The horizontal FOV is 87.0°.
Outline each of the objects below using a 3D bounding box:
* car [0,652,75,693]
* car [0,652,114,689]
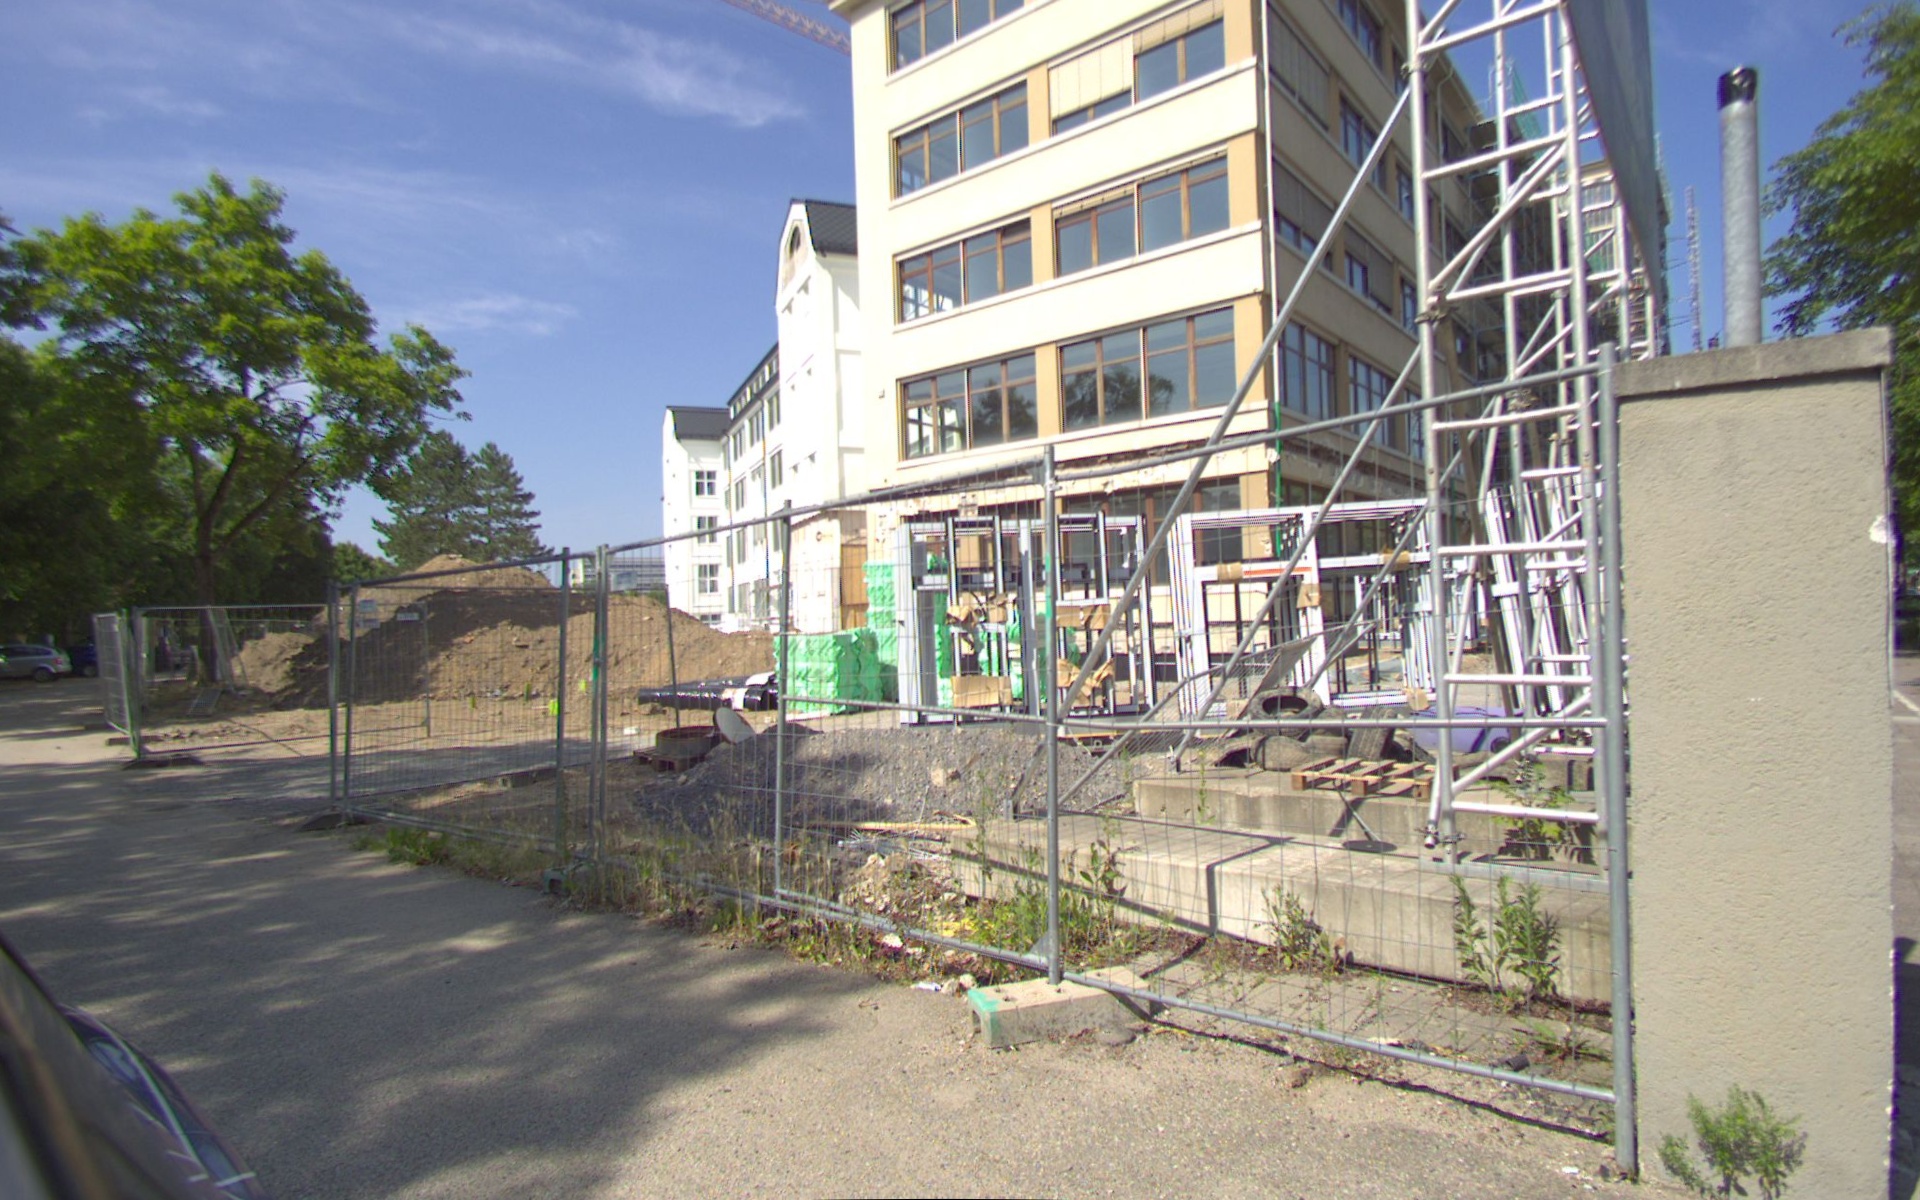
[{"bbox_3d":[-37.809,2.870,40.005,3.932,1.519,2.006,0,-2,-31],"label":"car"},{"bbox_3d":[-40.238,3.106,44.825,3.932,1.453,2.006,0,-2,-31],"label":"car"}]
